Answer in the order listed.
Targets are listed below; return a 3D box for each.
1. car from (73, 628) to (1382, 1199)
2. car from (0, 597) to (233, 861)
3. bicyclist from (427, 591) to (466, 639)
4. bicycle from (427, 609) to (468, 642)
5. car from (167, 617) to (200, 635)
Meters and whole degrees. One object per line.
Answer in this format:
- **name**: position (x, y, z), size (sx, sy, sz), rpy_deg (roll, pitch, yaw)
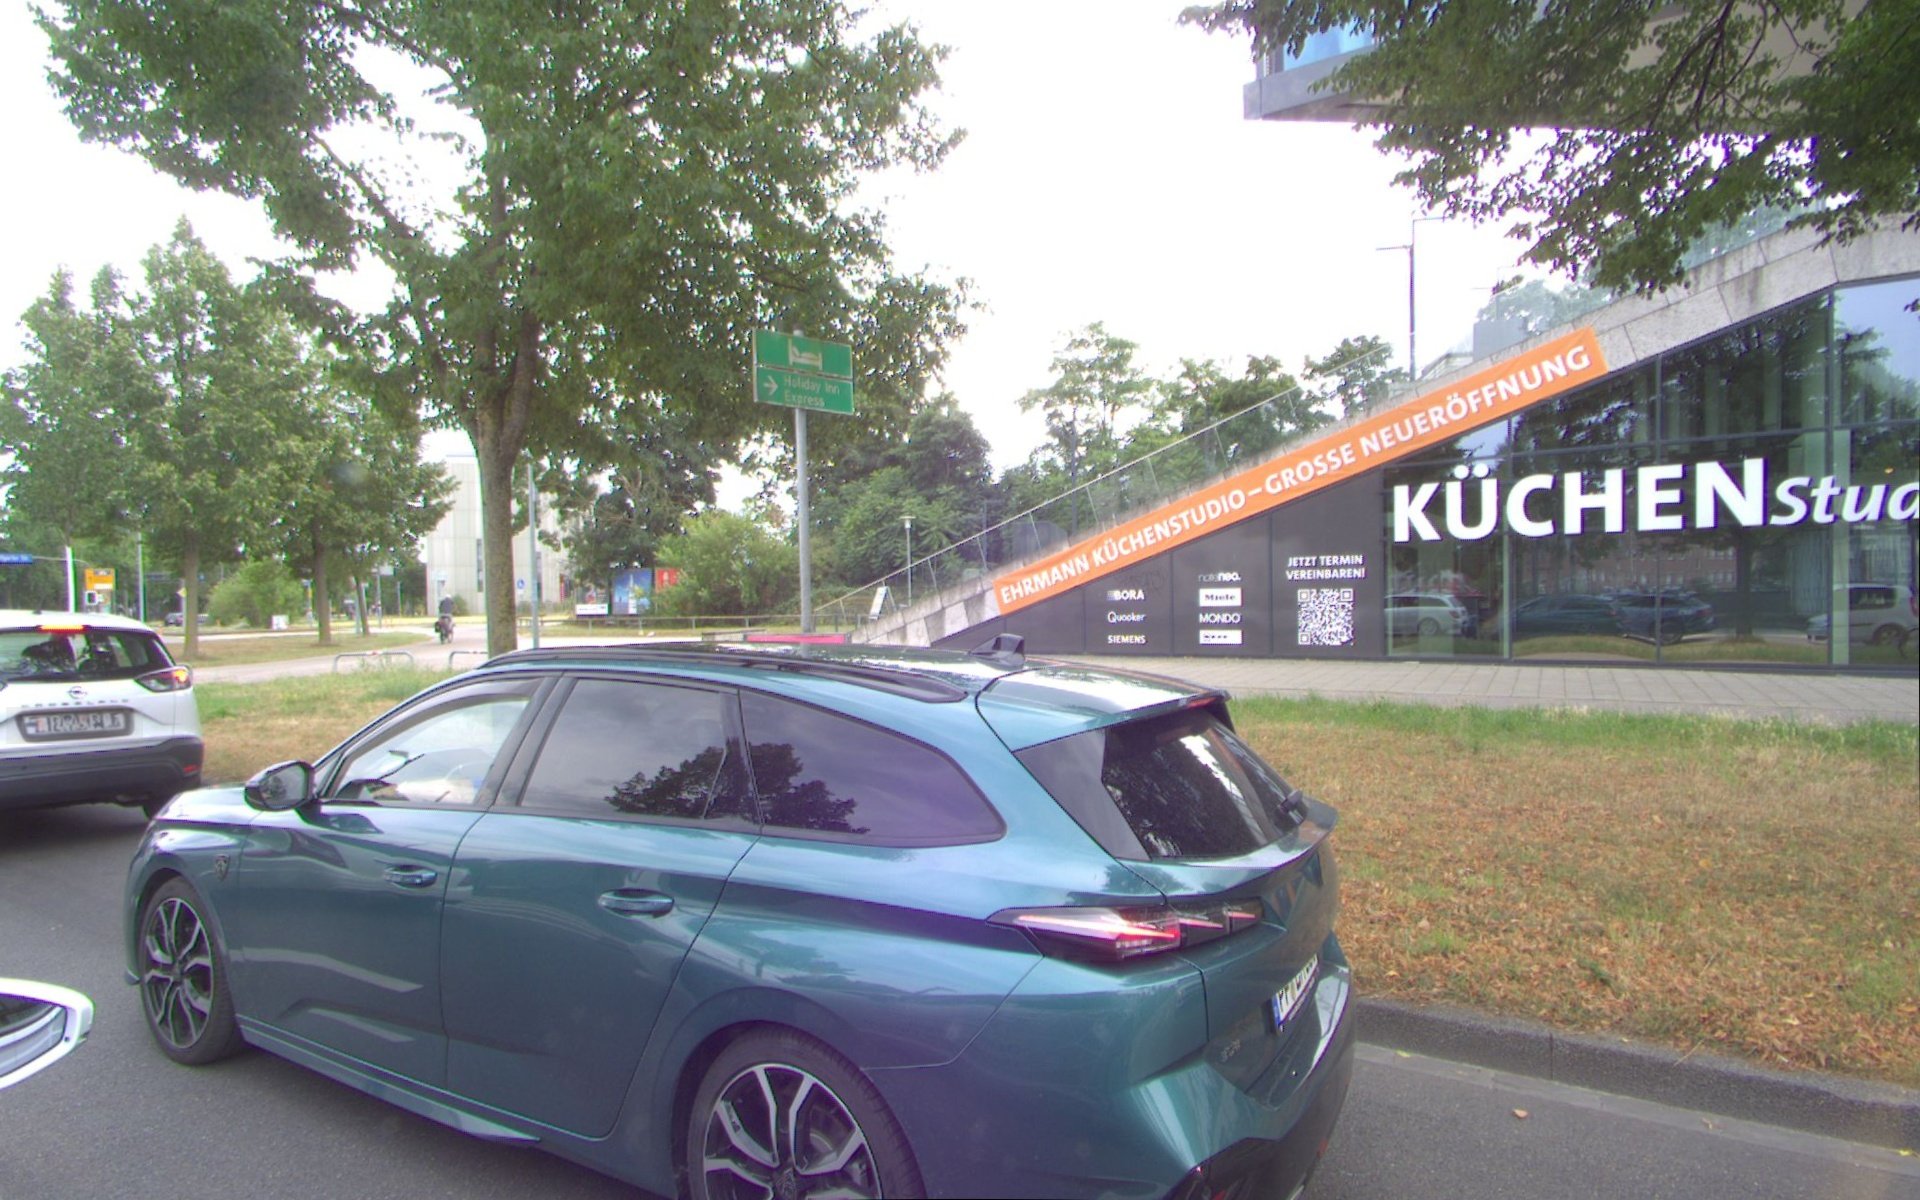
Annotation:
- **car**: position (-0.954, 0.840, 3.396), size (4.245, 1.450, 1.786), rpy_deg (0, -1, 29)
- **car**: position (-7.411, 0.818, 7.592), size (3.854, 1.646, 1.783), rpy_deg (0, 0, 33)
- **bicyclist**: position (-19.725, 0.563, 38.475), size (0.981, 1.761, 1.127), rpy_deg (-2, 3, -13)
- **bicycle**: position (-19.733, 0.963, 38.579), size (0.888, 1.251, 2.265), rpy_deg (0, 0, -14)
- **car**: position (-83.945, 2.821, 108.308), size (1.969, 1.813, 3.986), rpy_deg (1, -2, -26)
